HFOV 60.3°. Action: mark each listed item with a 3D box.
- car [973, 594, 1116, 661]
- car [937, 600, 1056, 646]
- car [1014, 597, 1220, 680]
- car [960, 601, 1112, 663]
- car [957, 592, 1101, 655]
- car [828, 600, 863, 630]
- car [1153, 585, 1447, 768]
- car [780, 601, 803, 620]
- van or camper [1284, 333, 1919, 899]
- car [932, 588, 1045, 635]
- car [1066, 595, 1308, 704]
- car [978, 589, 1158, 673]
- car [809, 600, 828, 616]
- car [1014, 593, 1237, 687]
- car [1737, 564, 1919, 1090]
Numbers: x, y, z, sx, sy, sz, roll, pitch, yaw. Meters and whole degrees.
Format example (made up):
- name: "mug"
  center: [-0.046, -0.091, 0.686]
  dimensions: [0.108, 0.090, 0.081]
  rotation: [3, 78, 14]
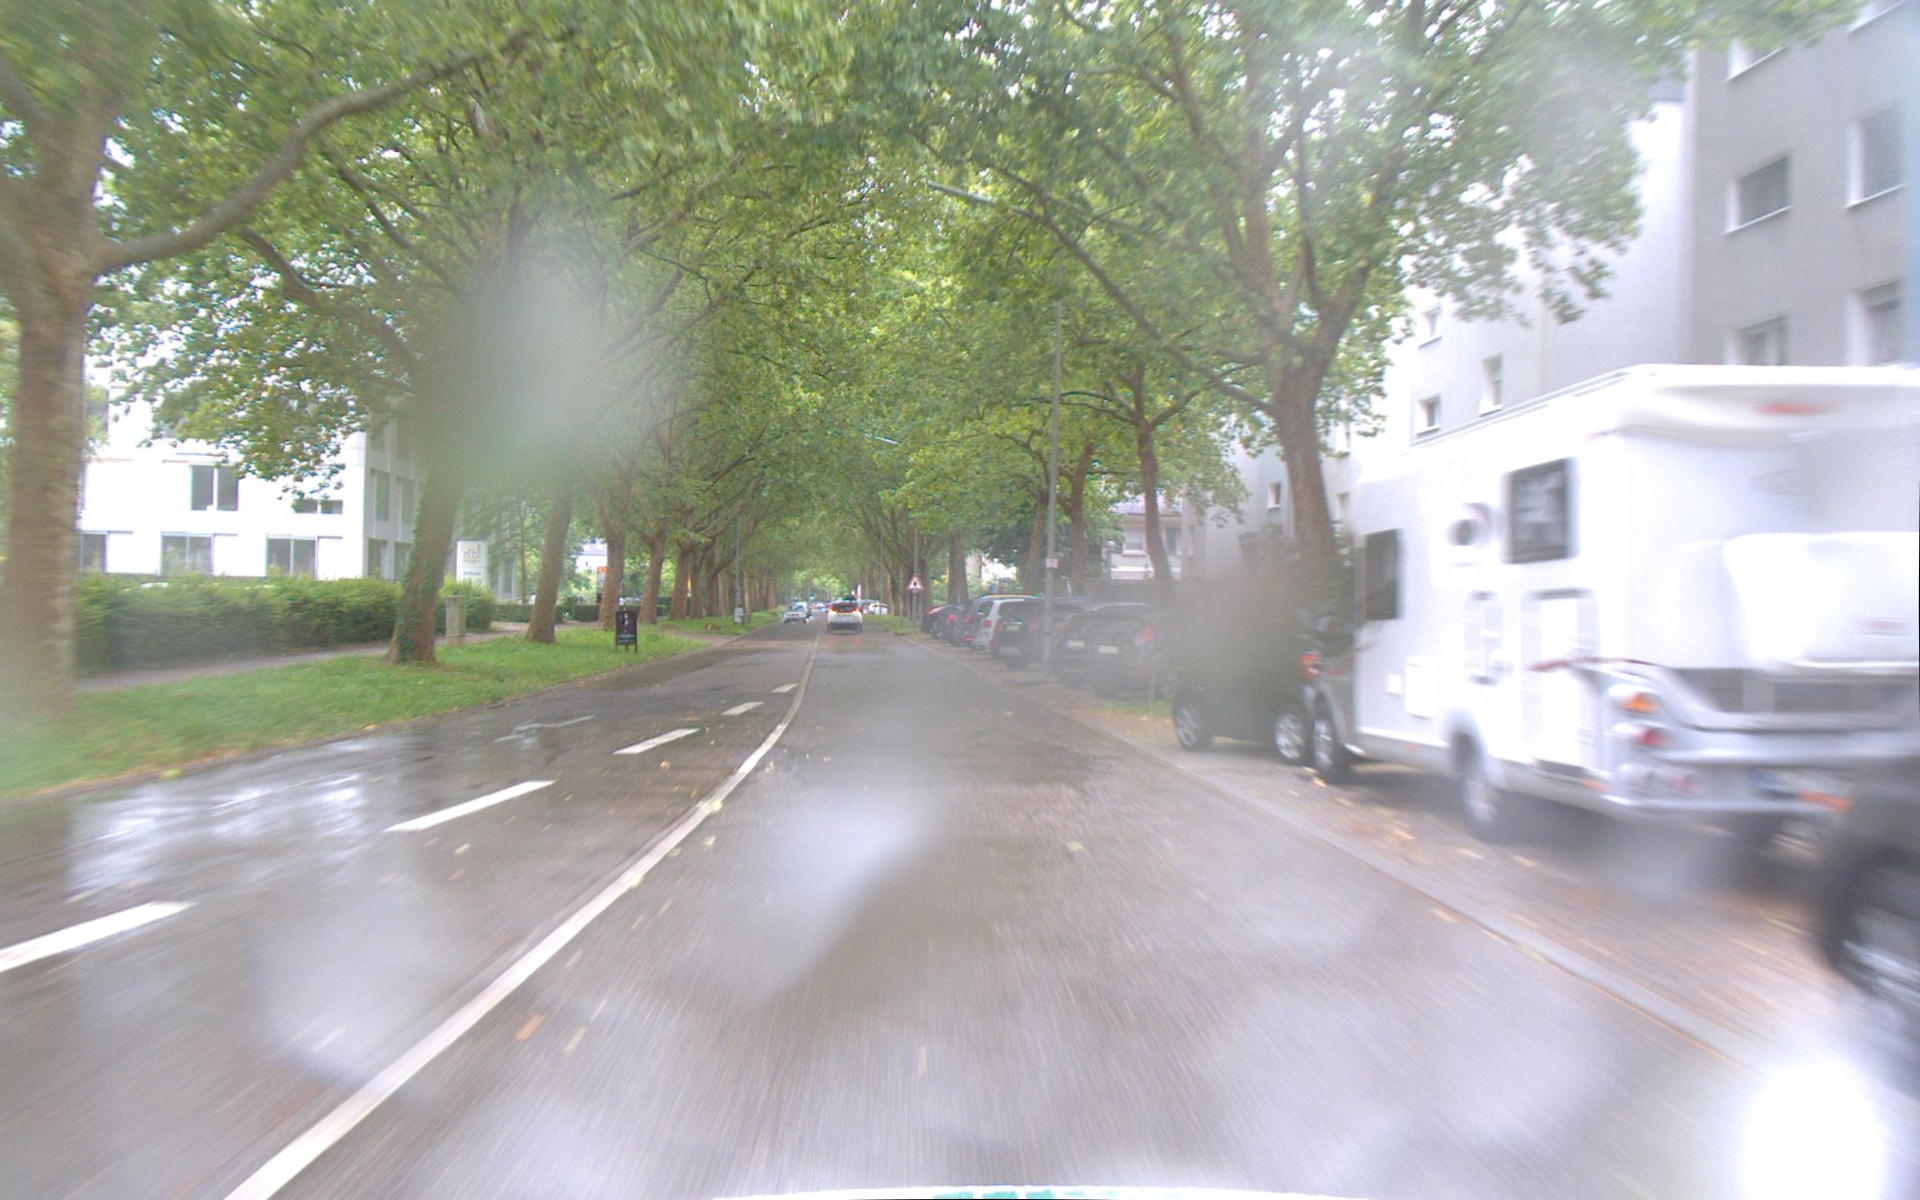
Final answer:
- name: "car"
  center: [2.412, 0.781, 47.862]
  dimensions: [3.908, 1.757, 1.799]
  rotation: [2, 0, -4]
- name: "car"
  center: [1.268, 0.781, 58.323]
  dimensions: [3.959, 1.466, 1.683]
  rotation: [-2, 1, -8]
- name: "car"
  center: [3.352, 0.815, 35.157]
  dimensions: [3.948, 1.629, 2.014]
  rotation: [2, 0, -32]
- name: "car"
  center: [2.052, 0.862, 45.378]
  dimensions: [3.910, 1.539, 1.798]
  rotation: [2, 0, -7]
- name: "car"
  center: [2.102, 0.708, 51.339]
  dimensions: [4.252, 1.792, 1.817]
  rotation: [2, 0, -5]
- name: "car"
  center: [-5.759, 0.728, 83.039]
  dimensions: [1.672, 1.436, 3.641]
  rotation: [-1, 1, -5]
- name: "car"
  center: [3.421, 0.722, 17.125]
  dimensions: [1.662, 1.681, 2.929]
  rotation: [2, 0, -21]
- name: "car"
  center: [-13.253, 0.827, 130.244]
  dimensions: [1.645, 1.413, 4.545]
  rotation: [0, 0, -4]
- name: "van or camper"
  center: [4.310, 0.090, 11.902]
  dimensions: [2.272, 2.856, 6.860]
  rotation: [1, 0, -3]
- name: "car"
  center: [1.077, 0.433, 63.644]
  dimensions: [4.128, 1.684, 1.912]
  rotation: [1, 0, -6]
- name: "car"
  center: [3.758, 0.801, 27.242]
  dimensions: [3.725, 1.629, 1.781]
  rotation: [2, 0, -35]
- name: "car"
  center: [2.499, 0.677, 38.072]
  dimensions: [3.819, 1.726, 1.817]
  rotation: [-2, 2, -33]
- name: "car"
  center: [-13.378, 0.715, 156.341]
  dimensions: [1.672, 1.436, 3.641]
  rotation: [-1, 1, -5]
- name: "car"
  center: [3.132, 0.744, 31.006]
  dimensions: [3.953, 1.629, 1.781]
  rotation: [2, 0, -35]
- name: "car"
  center: [4.074, 0.714, 4.096]
  dimensions: [1.878, 1.649, 4.448]
  rotation: [2, -1, -6]
